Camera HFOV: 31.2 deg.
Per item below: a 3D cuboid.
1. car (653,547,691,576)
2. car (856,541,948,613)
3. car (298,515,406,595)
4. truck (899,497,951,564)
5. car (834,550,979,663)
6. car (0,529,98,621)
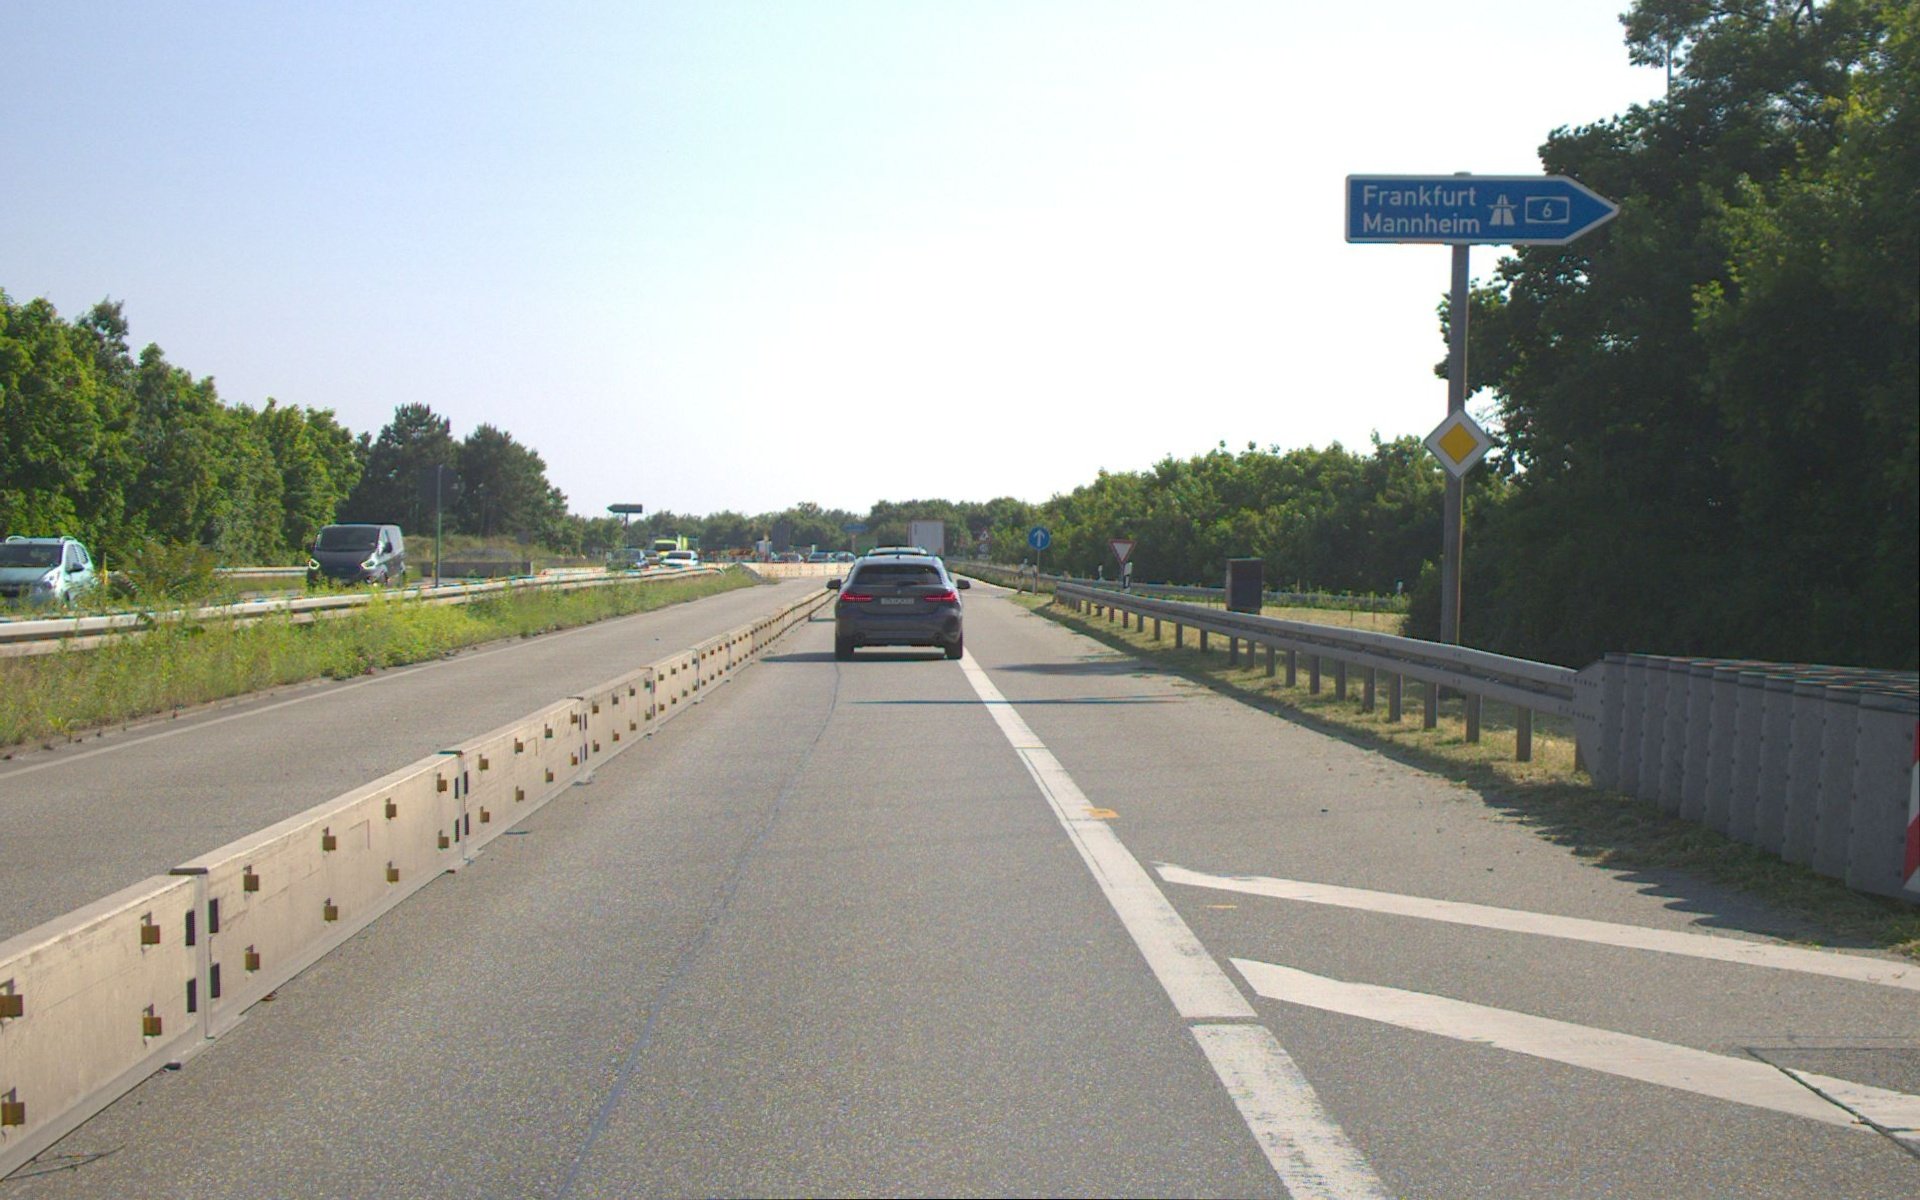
[{"bbox_3d":[-15.502,-2.093,185.483,1.759,1.465,4.795,2,1,-2],"label":"car"},{"bbox_3d":[-1.275,-0.532,76.343,1.993,1.561,4.000,0,1,-1],"label":"car"},{"bbox_3d":[-15.887,-1.188,90.106,1.993,2.027,5.169,0,1,-1],"label":"car"},{"bbox_3d":[-2.701,-5.287,261.858,3.761,4.894,14.137,1,1,-1],"label":"truck"},{"bbox_3d":[-0.798,0.062,48.736,1.920,1.488,4.001,1,1,-2],"label":"car"},{"bbox_3d":[-16.269,-0.458,59.777,1.646,1.526,3.819,2,1,-1],"label":"car"}]
